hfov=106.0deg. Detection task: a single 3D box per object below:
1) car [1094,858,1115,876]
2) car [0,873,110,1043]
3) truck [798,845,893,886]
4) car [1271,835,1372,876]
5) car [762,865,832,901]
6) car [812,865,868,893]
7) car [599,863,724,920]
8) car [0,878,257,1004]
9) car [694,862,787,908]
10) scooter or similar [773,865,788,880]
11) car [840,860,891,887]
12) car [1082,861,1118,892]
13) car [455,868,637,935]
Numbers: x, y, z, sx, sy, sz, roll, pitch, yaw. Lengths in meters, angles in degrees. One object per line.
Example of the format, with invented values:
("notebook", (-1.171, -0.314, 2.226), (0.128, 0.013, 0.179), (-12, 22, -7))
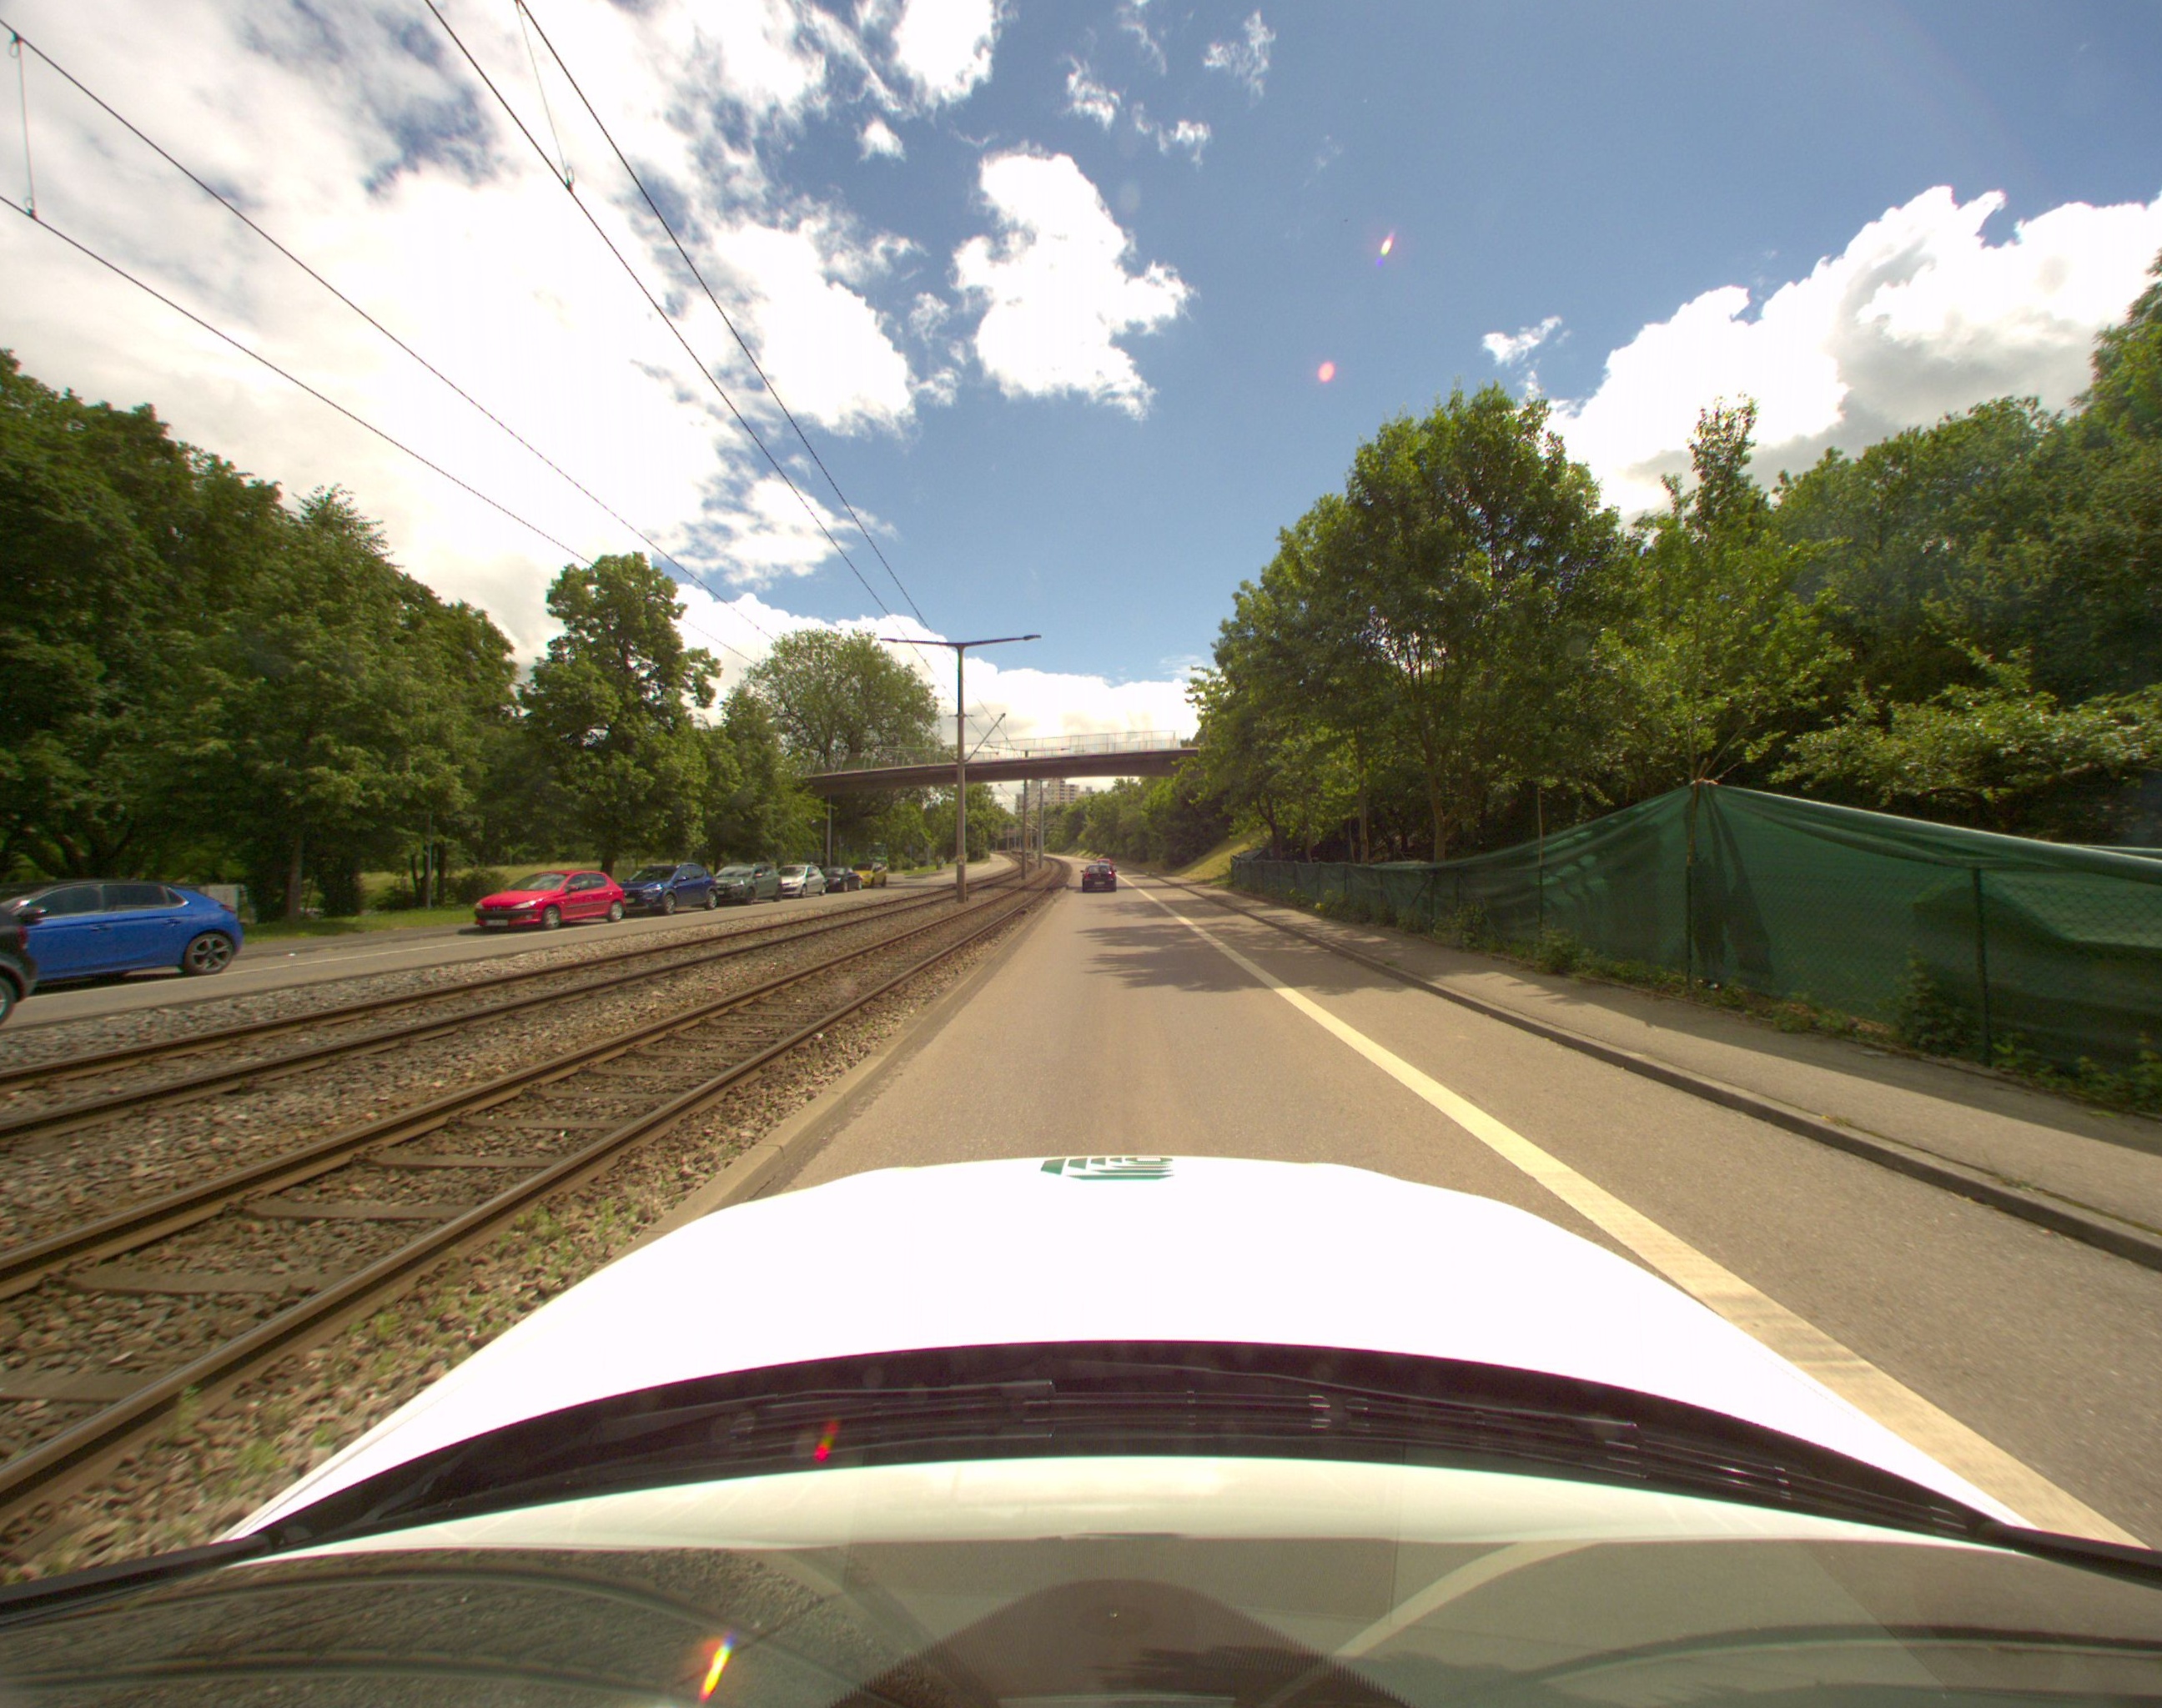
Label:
("car", (1.998, 1.089, 68.656), (1.617, 1.443, 3.424), (1, -2, 4))
("car", (-10.978, 0.932, 6.443), (1.607, 1.574, 4.001), (1, -2, 2))
("truck", (-20.954, 0.974, 72.202), (8.914, 3.320, 2.898), (1, -2, 34))
("car", (12.132, 0.118, 41.267), (4.504, 1.671, 2.002), (-4, -2, 4))
("car", (-12.690, 1.247, 36.671), (1.588, 1.494, 4.192), (1, -1, 1))
("car", (-12.371, 1.281, 42.060), (1.505, 1.360, 4.131), (-1, -1, 3))
("car", (-13.042, 1.153, 25.603), (1.551, 1.596, 4.162), (1, -2, 3))
("car", (-13.538, 1.056, 10.471), (1.606, 1.461, 4.009), (1, -2, 3))
("car", (-12.820, 1.138, 30.963), (1.636, 1.622, 4.128), (-1, -1, 3))
("scooter or similar", (-22.576, 1.400, 61.159), (0.707, 1.147, 0.788), (1, -2, 3))
("car", (-12.391, 1.154, 46.998), (1.682, 1.450, 3.900), (1, -2, 3))
("car", (0.966, 1.136, 41.579), (1.702, 1.460, 3.961), (2, -1, 1))
("car", (-13.310, 1.155, 20.595), (1.605, 1.494, 4.052), (1, -2, 5))
